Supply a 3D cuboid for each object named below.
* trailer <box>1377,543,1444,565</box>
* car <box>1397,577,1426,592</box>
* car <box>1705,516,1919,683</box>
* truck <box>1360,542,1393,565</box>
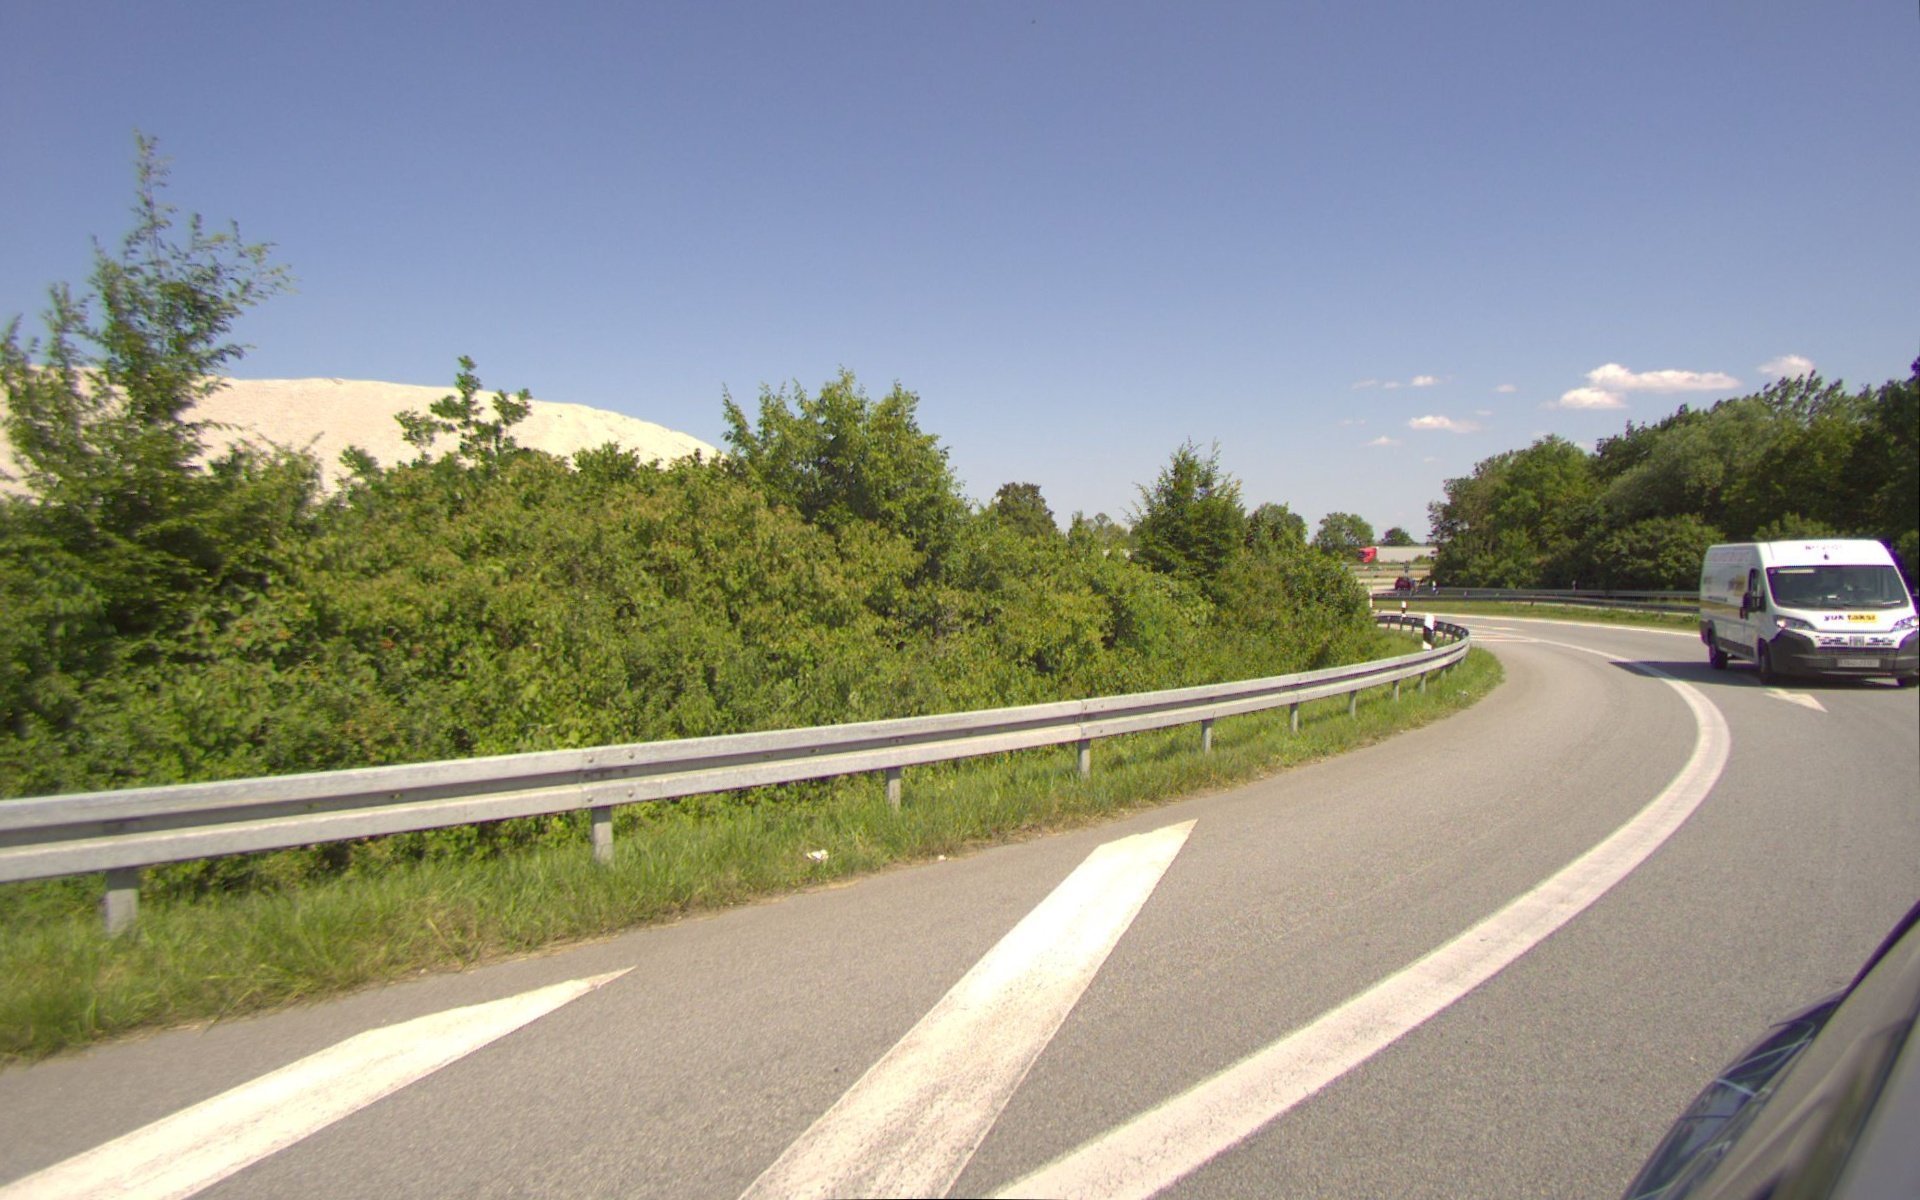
[{"bbox_3d":[87.197,-8.880,195.855,12.523,4.217,2.753,0,0,-10],"label":"trailer"},{"bbox_3d":[52.127,-1.769,116.832,1.828,1.737,3.937,0,1,44],"label":"car"},{"bbox_3d":[15.579,-0.022,18.521,2.068,2.556,6.178,-2,0,27],"label":"car"},{"bbox_3d":[80.041,-8.871,194.509,5.051,4.217,2.753,0,0,-10],"label":"truck"}]
